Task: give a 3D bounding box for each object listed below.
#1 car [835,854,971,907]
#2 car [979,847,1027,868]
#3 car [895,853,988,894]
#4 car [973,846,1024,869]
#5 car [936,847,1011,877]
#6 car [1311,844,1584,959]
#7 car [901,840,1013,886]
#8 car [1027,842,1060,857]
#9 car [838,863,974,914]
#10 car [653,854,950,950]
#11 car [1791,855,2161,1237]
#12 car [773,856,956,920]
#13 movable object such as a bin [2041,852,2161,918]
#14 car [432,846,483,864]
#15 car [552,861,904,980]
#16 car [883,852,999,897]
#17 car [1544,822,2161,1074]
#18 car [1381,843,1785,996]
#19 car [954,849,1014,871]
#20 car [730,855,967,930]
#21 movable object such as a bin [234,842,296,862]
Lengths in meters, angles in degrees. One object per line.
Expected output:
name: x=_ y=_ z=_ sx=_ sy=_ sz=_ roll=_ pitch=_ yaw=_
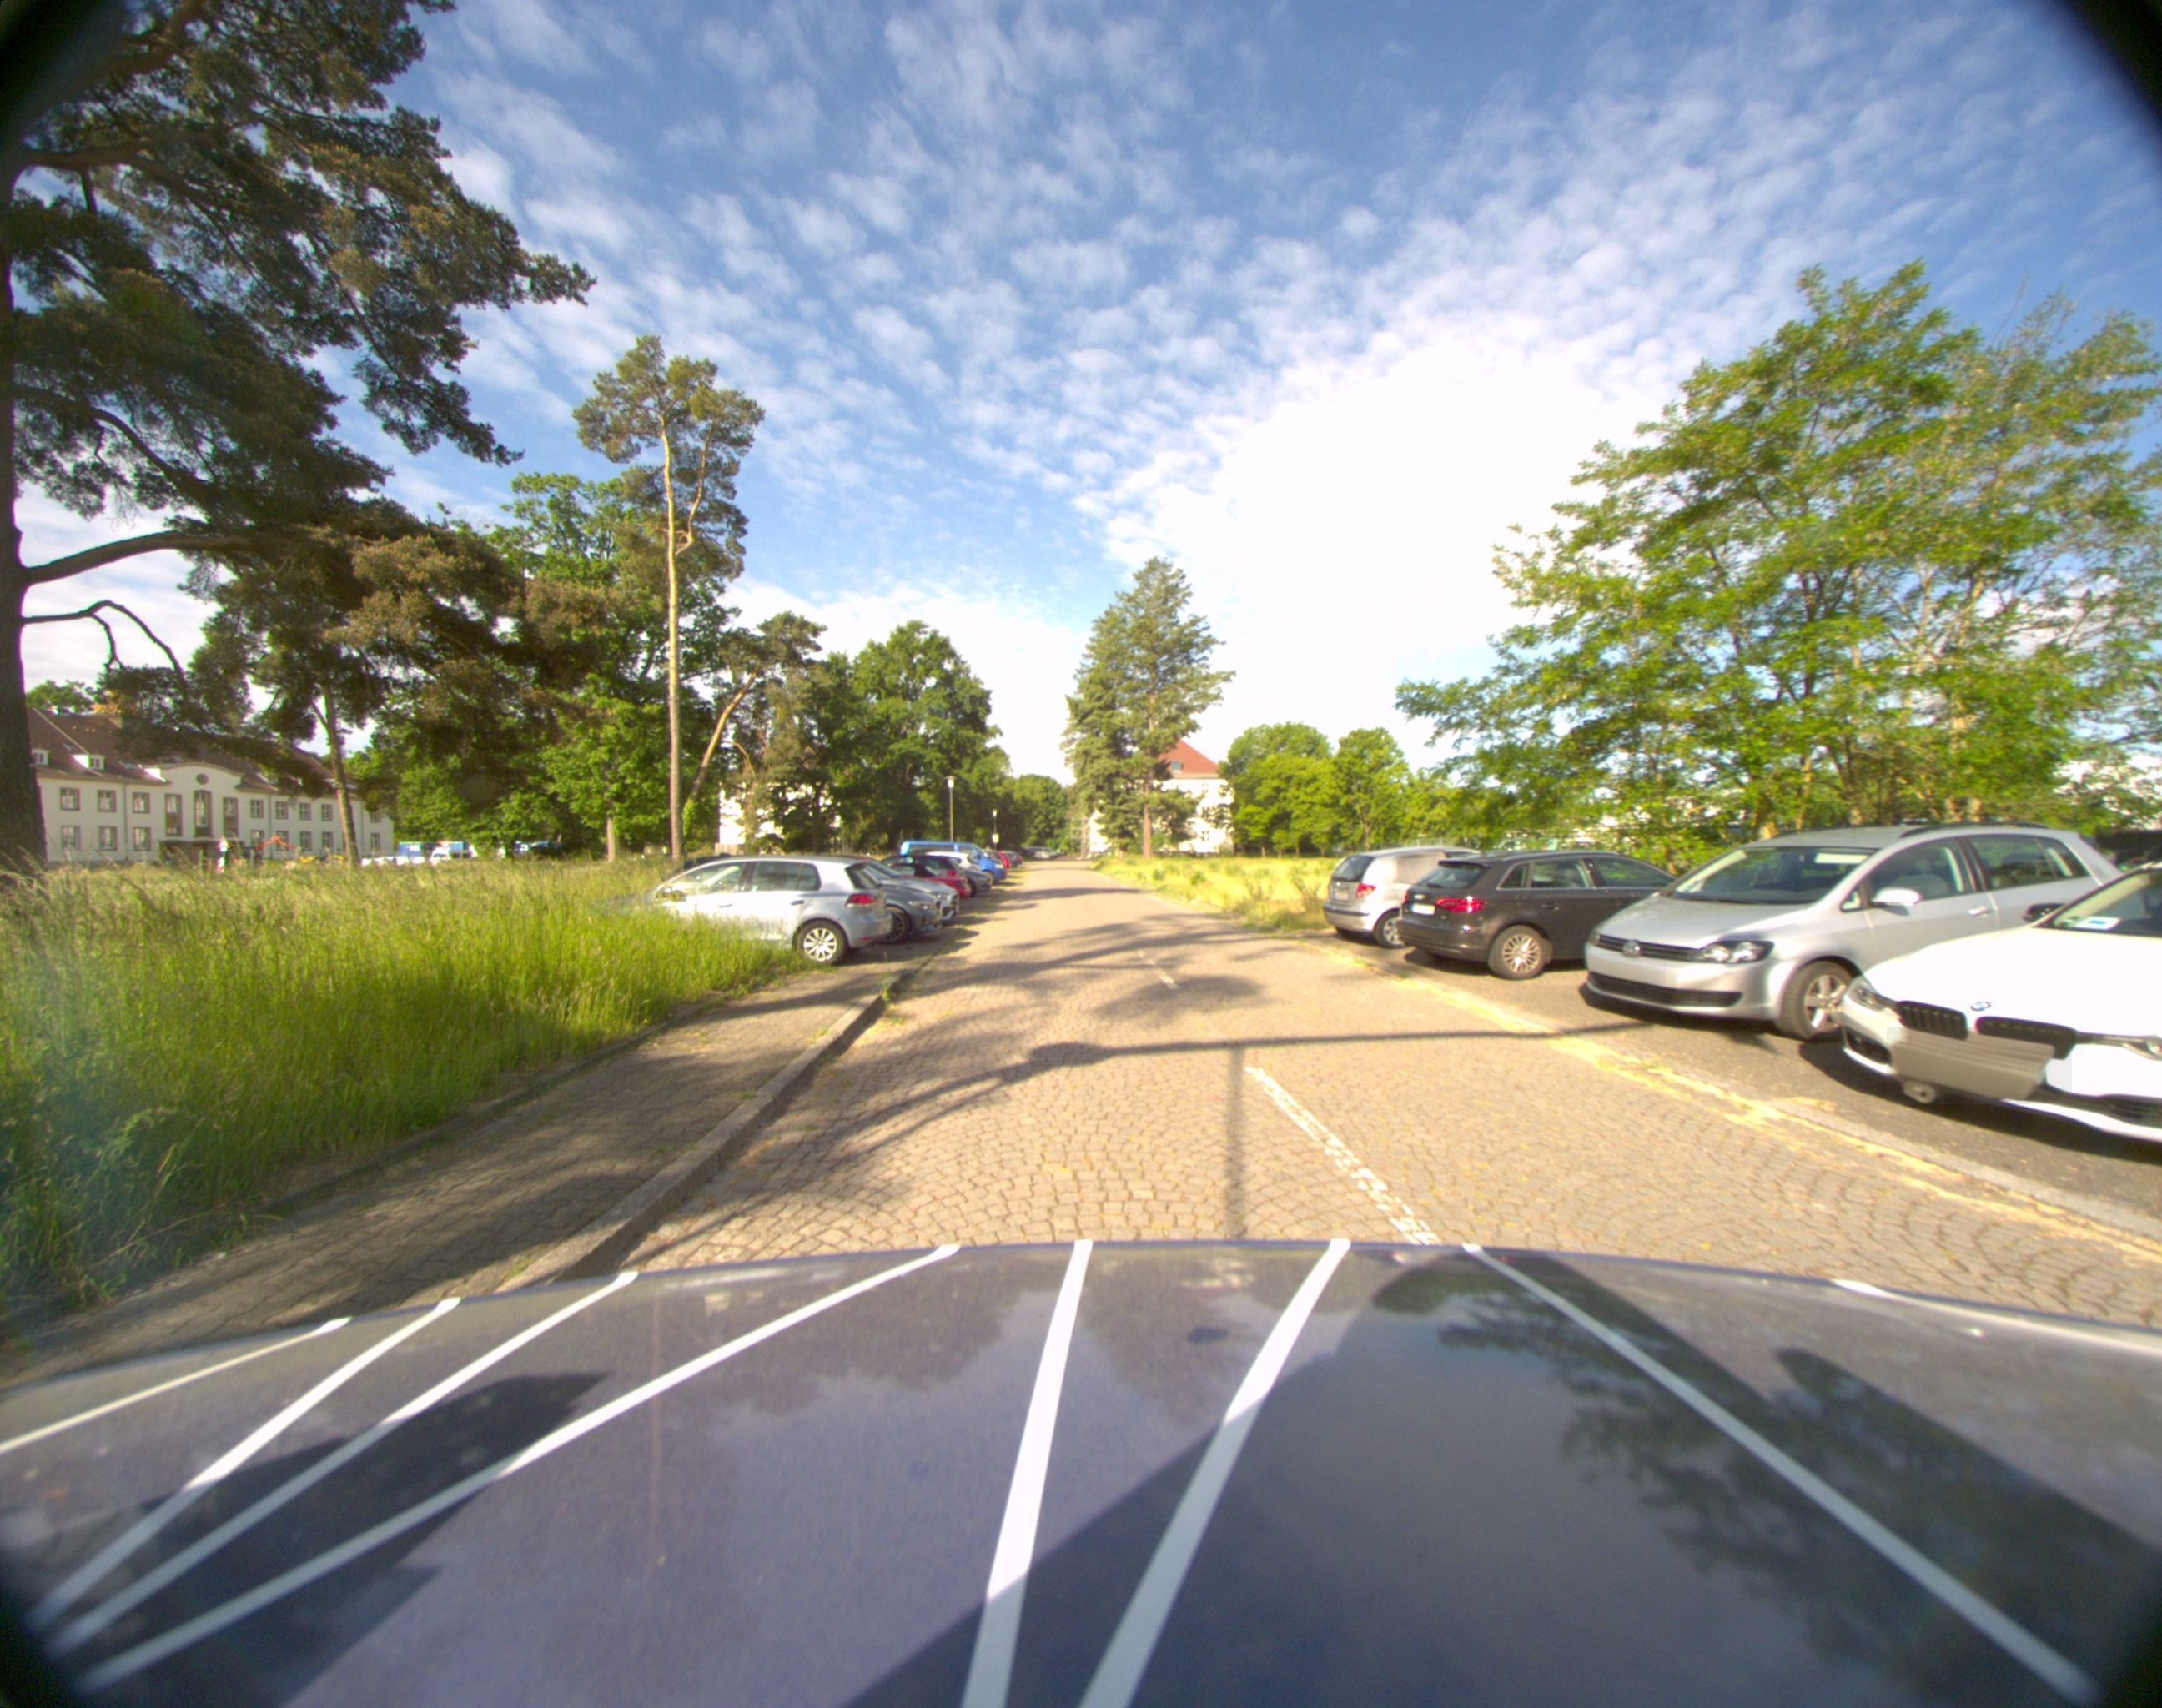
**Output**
car: x=-5.324 y=0.779 z=23.069 sx=3.780 sy=1.482 sz=1.548 roll=0 pitch=1 yaw=-3
car: x=-7.026 y=0.297 z=68.407 sx=3.996 sy=1.606 sz=1.756 roll=-3 pitch=2 yaw=2
car: x=-5.263 y=0.720 z=28.933 sx=3.265 sy=1.482 sz=1.449 roll=0 pitch=1 yaw=0
car: x=-6.872 y=0.283 z=63.751 sx=3.997 sy=1.731 sz=1.756 roll=-2 pitch=1 yaw=1
car: x=-6.058 y=0.461 z=43.226 sx=3.997 sy=1.630 sz=1.756 roll=0 pitch=1 yaw=0
car: x=5.636 y=0.679 z=11.925 sx=3.475 sy=1.462 sz=1.635 roll=-3 pitch=1 yaw=-5
car: x=-5.521 y=0.370 z=34.304 sx=4.727 sy=2.002 sz=1.999 roll=0 pitch=1 yaw=-1
car: x=-5.766 y=-0.730 z=117.271 sx=5.069 sy=2.251 sz=1.999 roll=0 pitch=1 yaw=-2
car: x=-4.632 y=0.906 z=20.474 sx=3.357 sy=1.248 sz=1.419 roll=0 pitch=1 yaw=-3
car: x=-4.627 y=0.783 z=13.170 sx=4.508 sy=1.508 sz=1.825 roll=1 pitch=1 yaw=-6
car: x=6.719 y=0.758 z=4.002 sx=4.554 sy=1.459 sz=1.751 roll=-3 pitch=1 yaw=-5
car: x=-5.063 y=0.785 z=18.173 sx=3.919 sy=1.385 sz=1.660 roll=1 pitch=1 yaw=-3
movable object such as a bin: x=18.883 y=0.523 z=13.593 sx=2.285 sy=1.101 sz=0.997 roll=-1 pitch=1 yaw=-4
car: x=-71.899 y=0.111 z=87.697 sx=1.999 sy=2.002 sz=4.771 roll=-1 pitch=1 yaw=-1
car: x=-4.685 y=0.859 z=10.603 sx=4.027 sy=1.452 sz=1.870 roll=0 pitch=1 yaw=-3
car: x=-4.765 y=0.686 z=26.097 sx=3.621 sy=1.482 sz=1.508 roll=0 pitch=1 yaw=7
car: x=6.462 y=0.659 z=6.558 sx=3.956 sy=1.617 sz=1.720 roll=-3 pitch=1 yaw=-7
car: x=5.913 y=0.704 z=9.235 sx=3.807 sy=1.462 sz=1.687 roll=-3 pitch=1 yaw=-3
car: x=-6.784 y=0.392 z=53.564 sx=3.997 sy=1.509 sz=1.756 roll=0 pitch=1 yaw=0
car: x=-4.717 y=0.780 z=15.949 sx=4.424 sy=1.394 sz=1.825 roll=1 pitch=1 yaw=-3
movable object such as a bin: x=-94.001 y=-0.252 z=87.624 sx=1.999 sy=2.309 sz=4.983 roll=0 pitch=1 yaw=-6
